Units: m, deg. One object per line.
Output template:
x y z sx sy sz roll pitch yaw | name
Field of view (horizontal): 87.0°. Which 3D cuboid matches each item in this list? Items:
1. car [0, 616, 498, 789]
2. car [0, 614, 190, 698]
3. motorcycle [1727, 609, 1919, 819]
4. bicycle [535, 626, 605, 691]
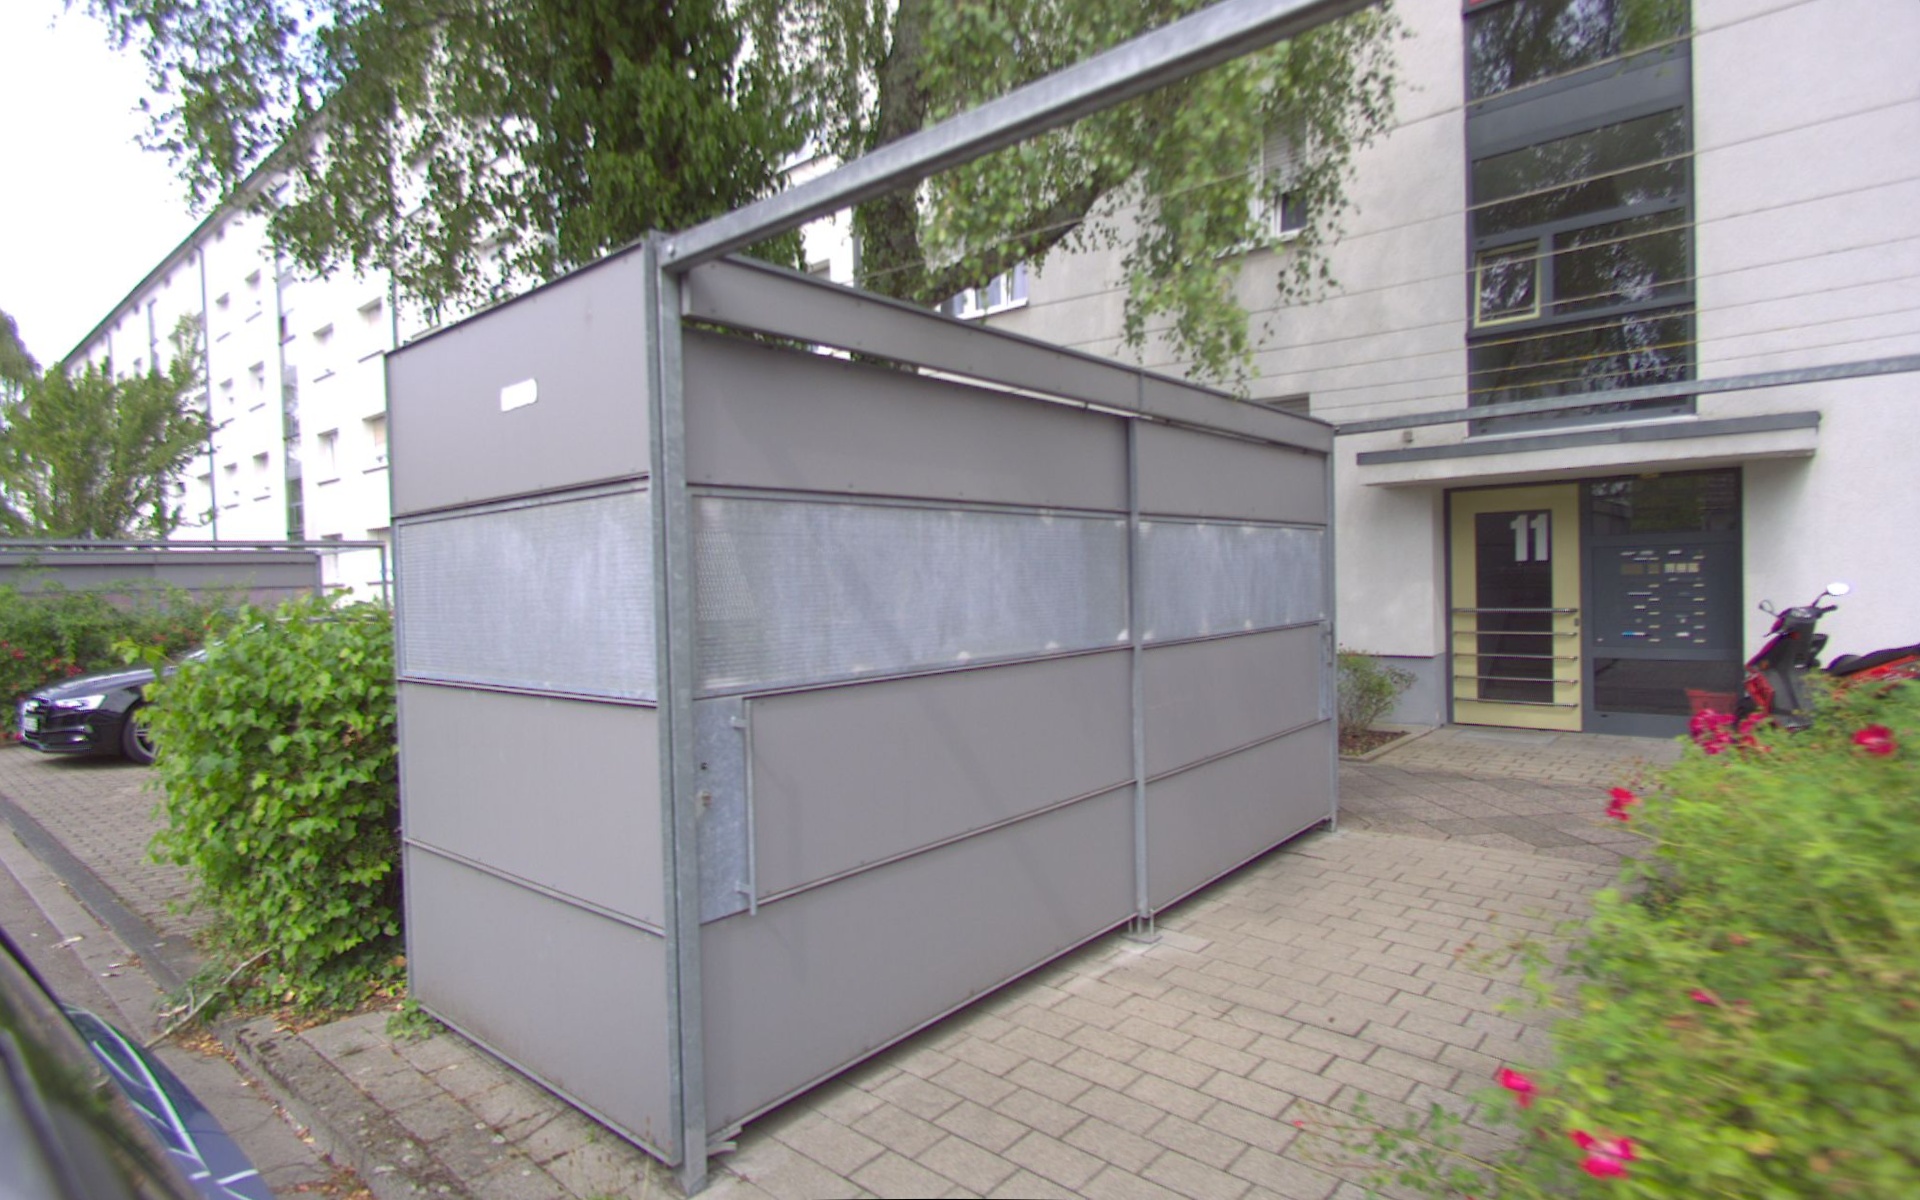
-7.723 0.952 11.300 1.919 1.386 4.287 -1 1 35 | car
-17.847 1.085 20.274 1.707 1.492 3.530 -1 0 36 | car
5.755 0.645 6.292 0.668 1.132 1.896 -1 0 7 | motorcycle
-6.359 0.939 16.576 0.390 0.964 1.382 -1 0 10 | bicycle
